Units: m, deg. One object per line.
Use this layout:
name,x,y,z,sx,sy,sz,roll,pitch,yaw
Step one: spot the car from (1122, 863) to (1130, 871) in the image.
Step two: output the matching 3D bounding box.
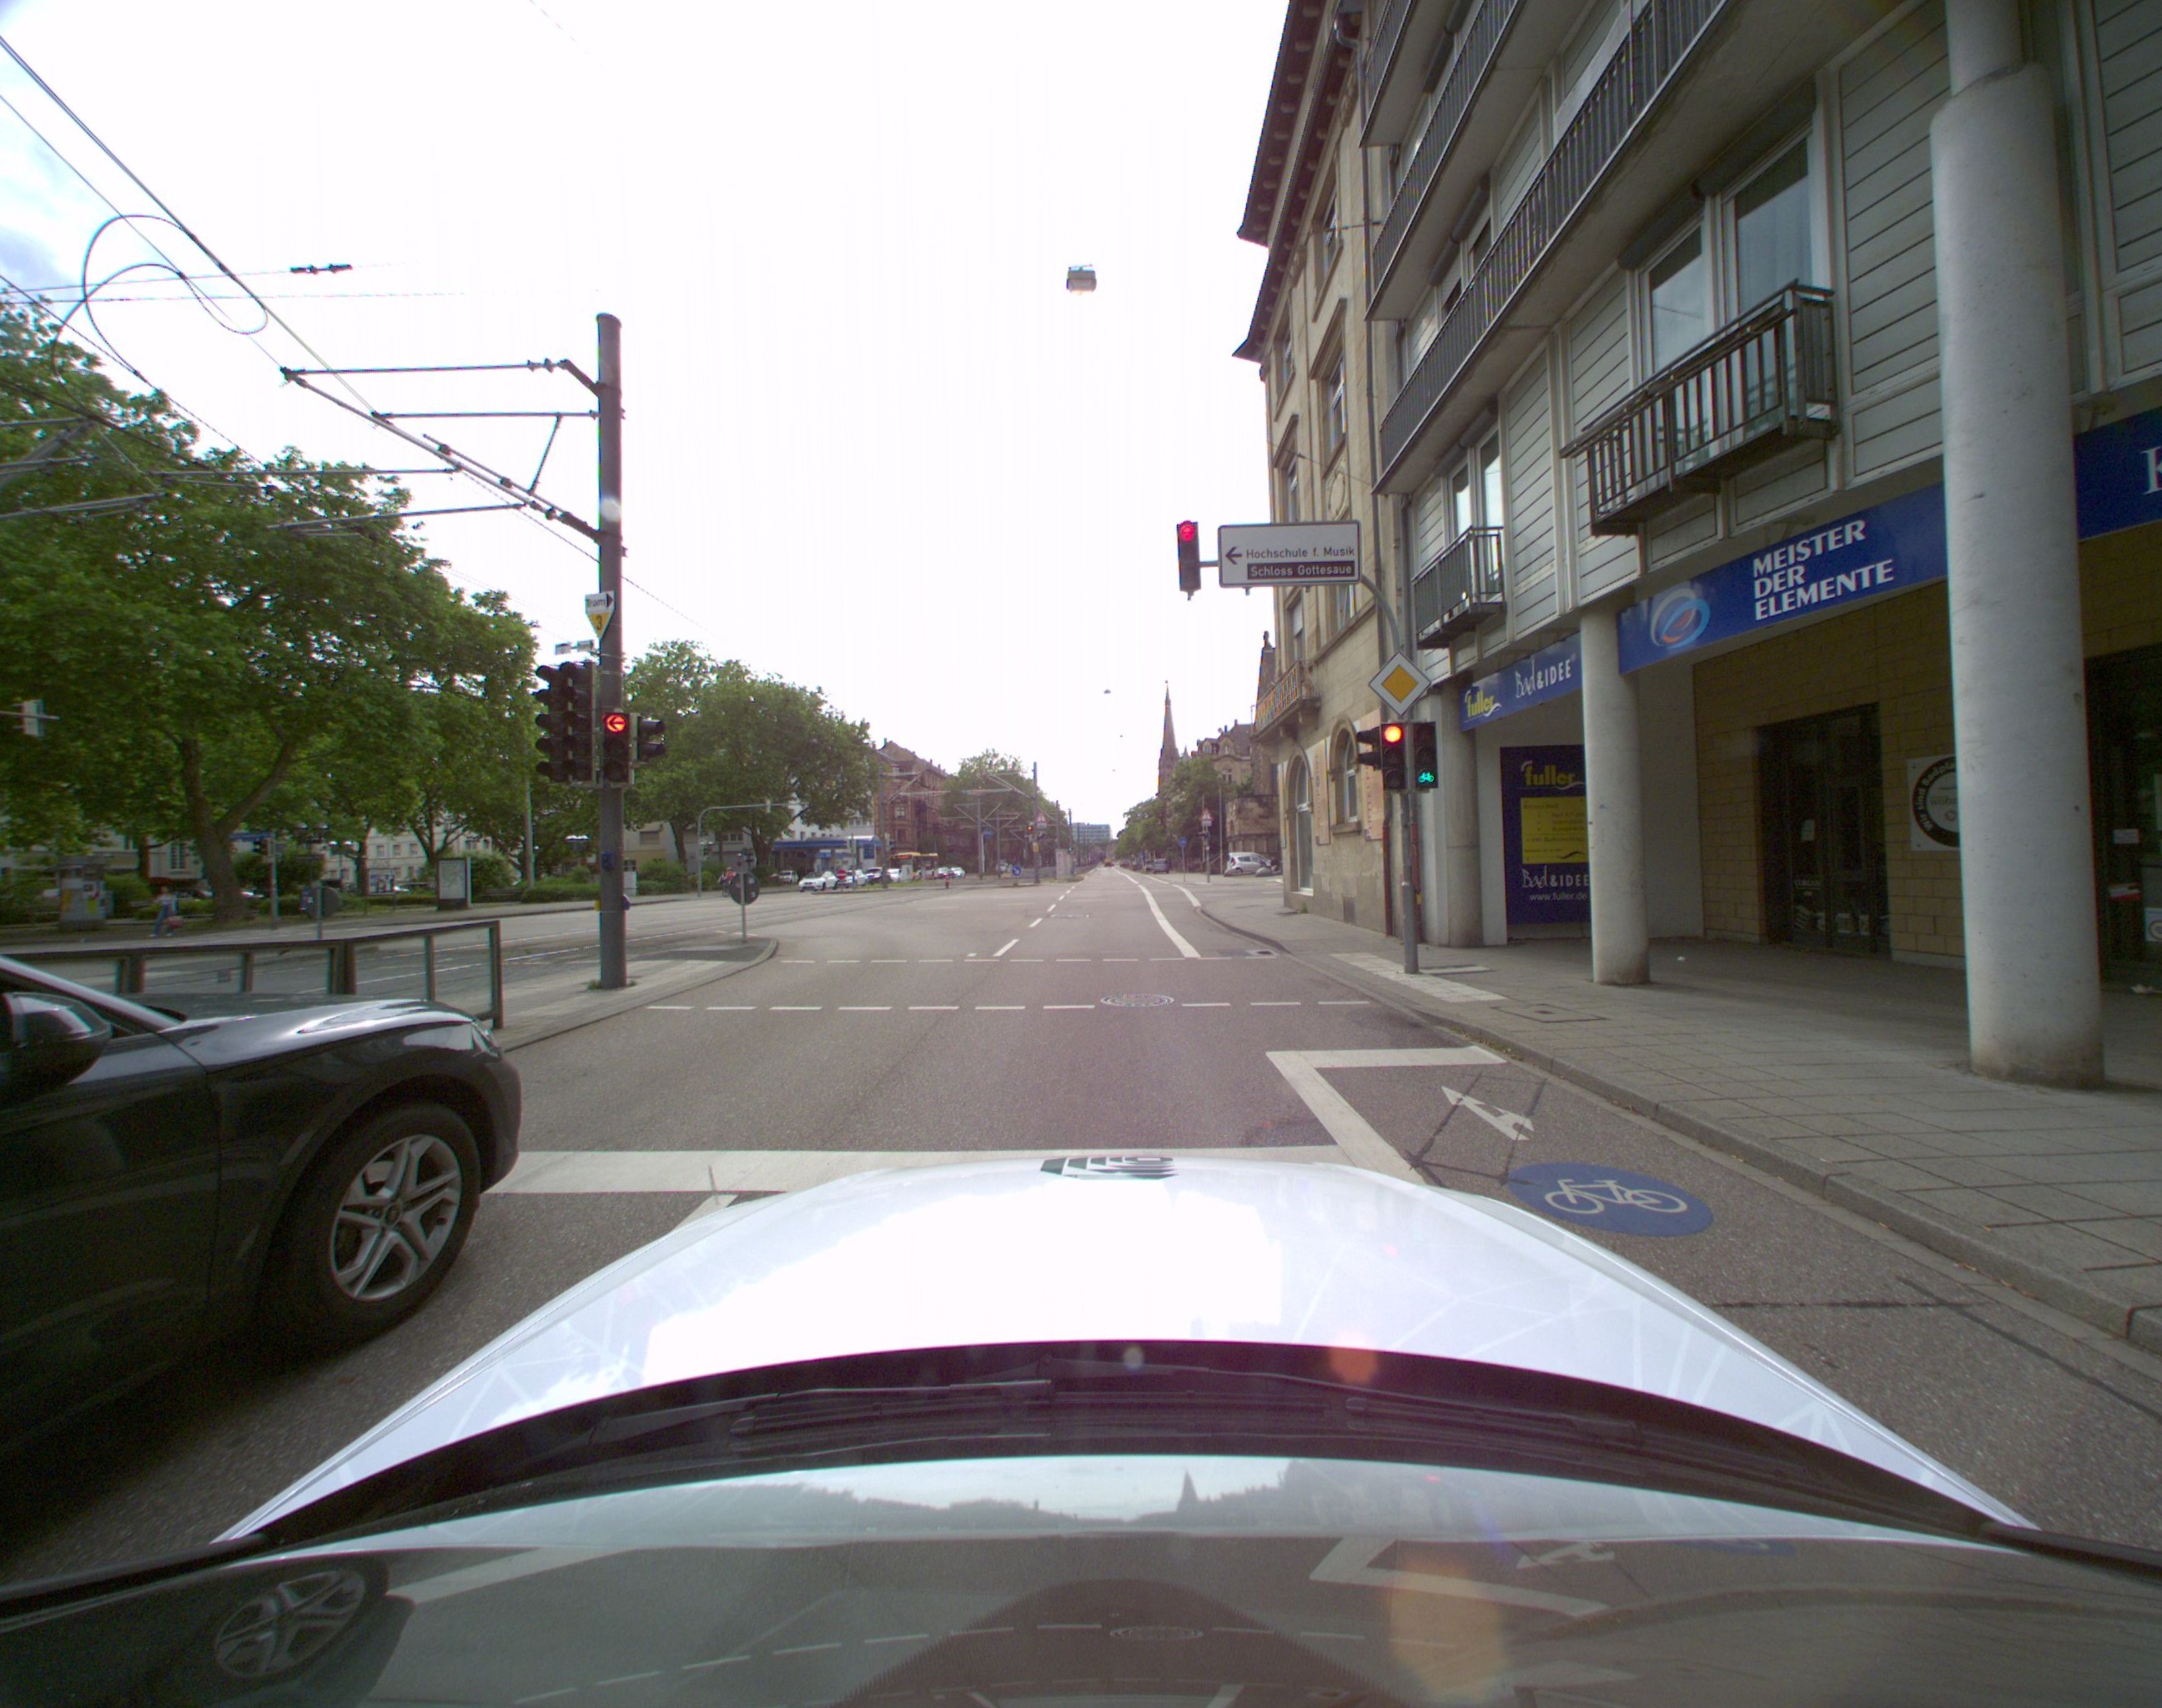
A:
car,11.919,3.382,216.767,1.986,2.014,4.001,0,-1,2

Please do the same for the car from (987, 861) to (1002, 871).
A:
car,-15.049,2.070,142.073,1.986,1.610,4.001,0,-1,2

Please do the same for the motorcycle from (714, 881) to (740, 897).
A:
motorcycle,-21.757,2.127,50.077,0.604,0.928,1.953,-2,-1,2

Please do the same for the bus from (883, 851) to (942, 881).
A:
bus,-18.299,1.304,89.699,3.217,3.035,12.323,0,0,4

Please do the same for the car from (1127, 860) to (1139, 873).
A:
car,8.698,2.062,136.161,1.986,2.014,4.001,0,-1,2

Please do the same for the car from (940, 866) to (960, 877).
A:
car,-16.538,2.196,102.799,1.649,1.321,3.641,0,-1,3

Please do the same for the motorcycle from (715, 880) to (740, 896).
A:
motorcycle,-22.460,2.150,51.790,0.604,0.928,1.953,-2,-1,2

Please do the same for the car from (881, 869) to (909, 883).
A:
car,-18.159,2.105,79.622,1.649,1.321,3.641,0,-1,3

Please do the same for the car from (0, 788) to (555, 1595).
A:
car,-3.074,0.686,1.210,1.727,1.637,4.228,0,-1,2

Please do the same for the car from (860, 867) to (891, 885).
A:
car,-18.331,1.934,72.701,1.649,1.478,3.641,0,-1,3

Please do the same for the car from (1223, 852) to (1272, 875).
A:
car,13.926,0.794,68.217,3.699,1.855,2.001,0,-1,2

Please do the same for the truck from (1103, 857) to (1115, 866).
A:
truck,9.130,2.470,262.441,3.040,2.769,9.832,-2,0,6

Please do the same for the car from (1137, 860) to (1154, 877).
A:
car,7.898,1.705,99.688,1.985,2.014,4.004,0,-1,4

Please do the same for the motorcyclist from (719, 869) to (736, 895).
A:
motorcyclist,-21.745,1.707,50.059,0.617,1.520,0.874,-1,-1,2

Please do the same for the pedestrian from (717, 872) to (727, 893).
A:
pedestrian,-26.256,2.070,59.521,0.474,1.459,0.426,-2,-1,1

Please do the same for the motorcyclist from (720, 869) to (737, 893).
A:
motorcyclist,-22.463,1.727,51.943,0.617,1.520,0.874,-1,-1,2

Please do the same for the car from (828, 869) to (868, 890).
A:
car,-18.845,2.060,66.057,1.986,1.594,4.001,0,-1,2

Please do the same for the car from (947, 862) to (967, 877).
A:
car,-16.748,2.067,110.170,1.986,2.014,4.001,0,-1,2

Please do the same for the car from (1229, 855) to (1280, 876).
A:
car,13.748,0.911,64.748,3.699,1.563,2.001,0,-1,2

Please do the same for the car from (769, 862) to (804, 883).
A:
car,-29.673,1.815,82.146,1.986,2.014,4.001,-2,0,2

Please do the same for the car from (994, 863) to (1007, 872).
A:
car,-14.790,2.452,149.882,1.986,1.610,4.001,0,-1,2

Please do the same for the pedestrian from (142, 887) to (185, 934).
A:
pedestrian,-30.446,1.864,27.037,0.656,1.510,0.680,-1,-1,-15

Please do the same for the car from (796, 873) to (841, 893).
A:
car,-19.165,2.080,59.544,1.739,1.321,4.079,0,-1,4

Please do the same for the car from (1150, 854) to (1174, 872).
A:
car,8.974,0.994,89.931,1.979,1.855,4.042,-1,-1,14
